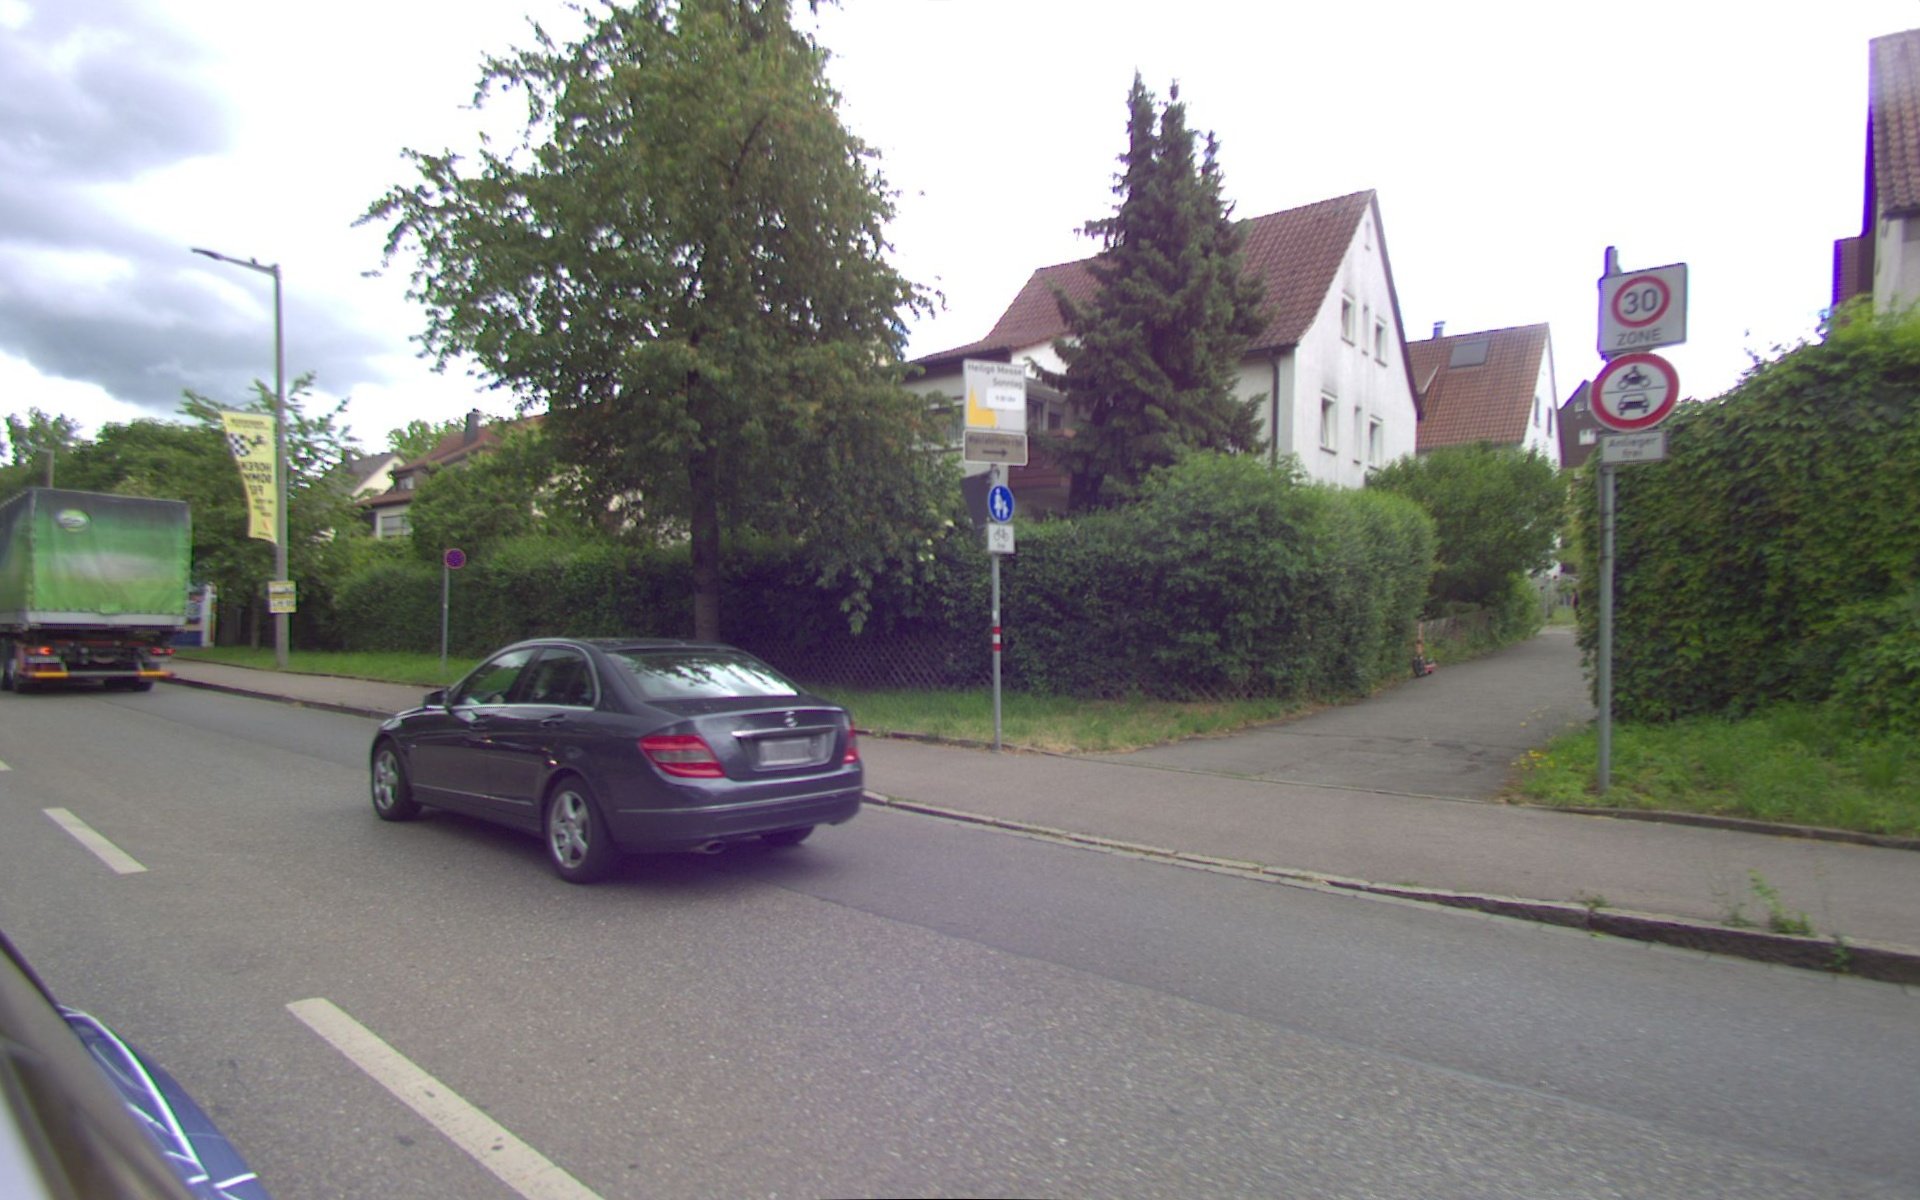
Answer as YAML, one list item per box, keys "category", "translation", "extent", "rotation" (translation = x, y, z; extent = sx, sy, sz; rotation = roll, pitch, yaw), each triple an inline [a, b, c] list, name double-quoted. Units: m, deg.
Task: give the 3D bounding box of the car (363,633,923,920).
- category: "car"
  translation: [-2.399, 0.953, 7.057]
  extent: [4.236, 1.385, 1.715]
  rotation: [-1, -3, 40]

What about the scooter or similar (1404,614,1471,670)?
- category: "scooter or similar"
  translation: [9.991, 0.850, 21.151]
  extent: [2.108, 1.116, 0.563]
  rotation: [0, -1, -45]

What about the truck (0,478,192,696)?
- category: "truck"
  translation: [-20.826, -0.164, 23.328]
  extent: [10.612, 4.074, 2.524]
  rotation: [0, -3, 40]

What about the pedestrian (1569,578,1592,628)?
- category: "pedestrian"
  translation: [20.645, 0.100, 33.655]
  extent: [0.569, 1.626, 0.393]
  rotation: [-1, -1, 44]

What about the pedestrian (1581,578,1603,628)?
- category: "pedestrian"
  translation: [20.554, 0.095, 32.921]
  extent: [0.517, 1.626, 0.393]
  rotation: [-1, -1, 44]

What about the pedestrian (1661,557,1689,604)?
- category: "pedestrian"
  translation: [28.422, -0.761, 40.242]
  extent: [0.804, 1.811, 0.636]
  rotation: [-1, -1, 44]
